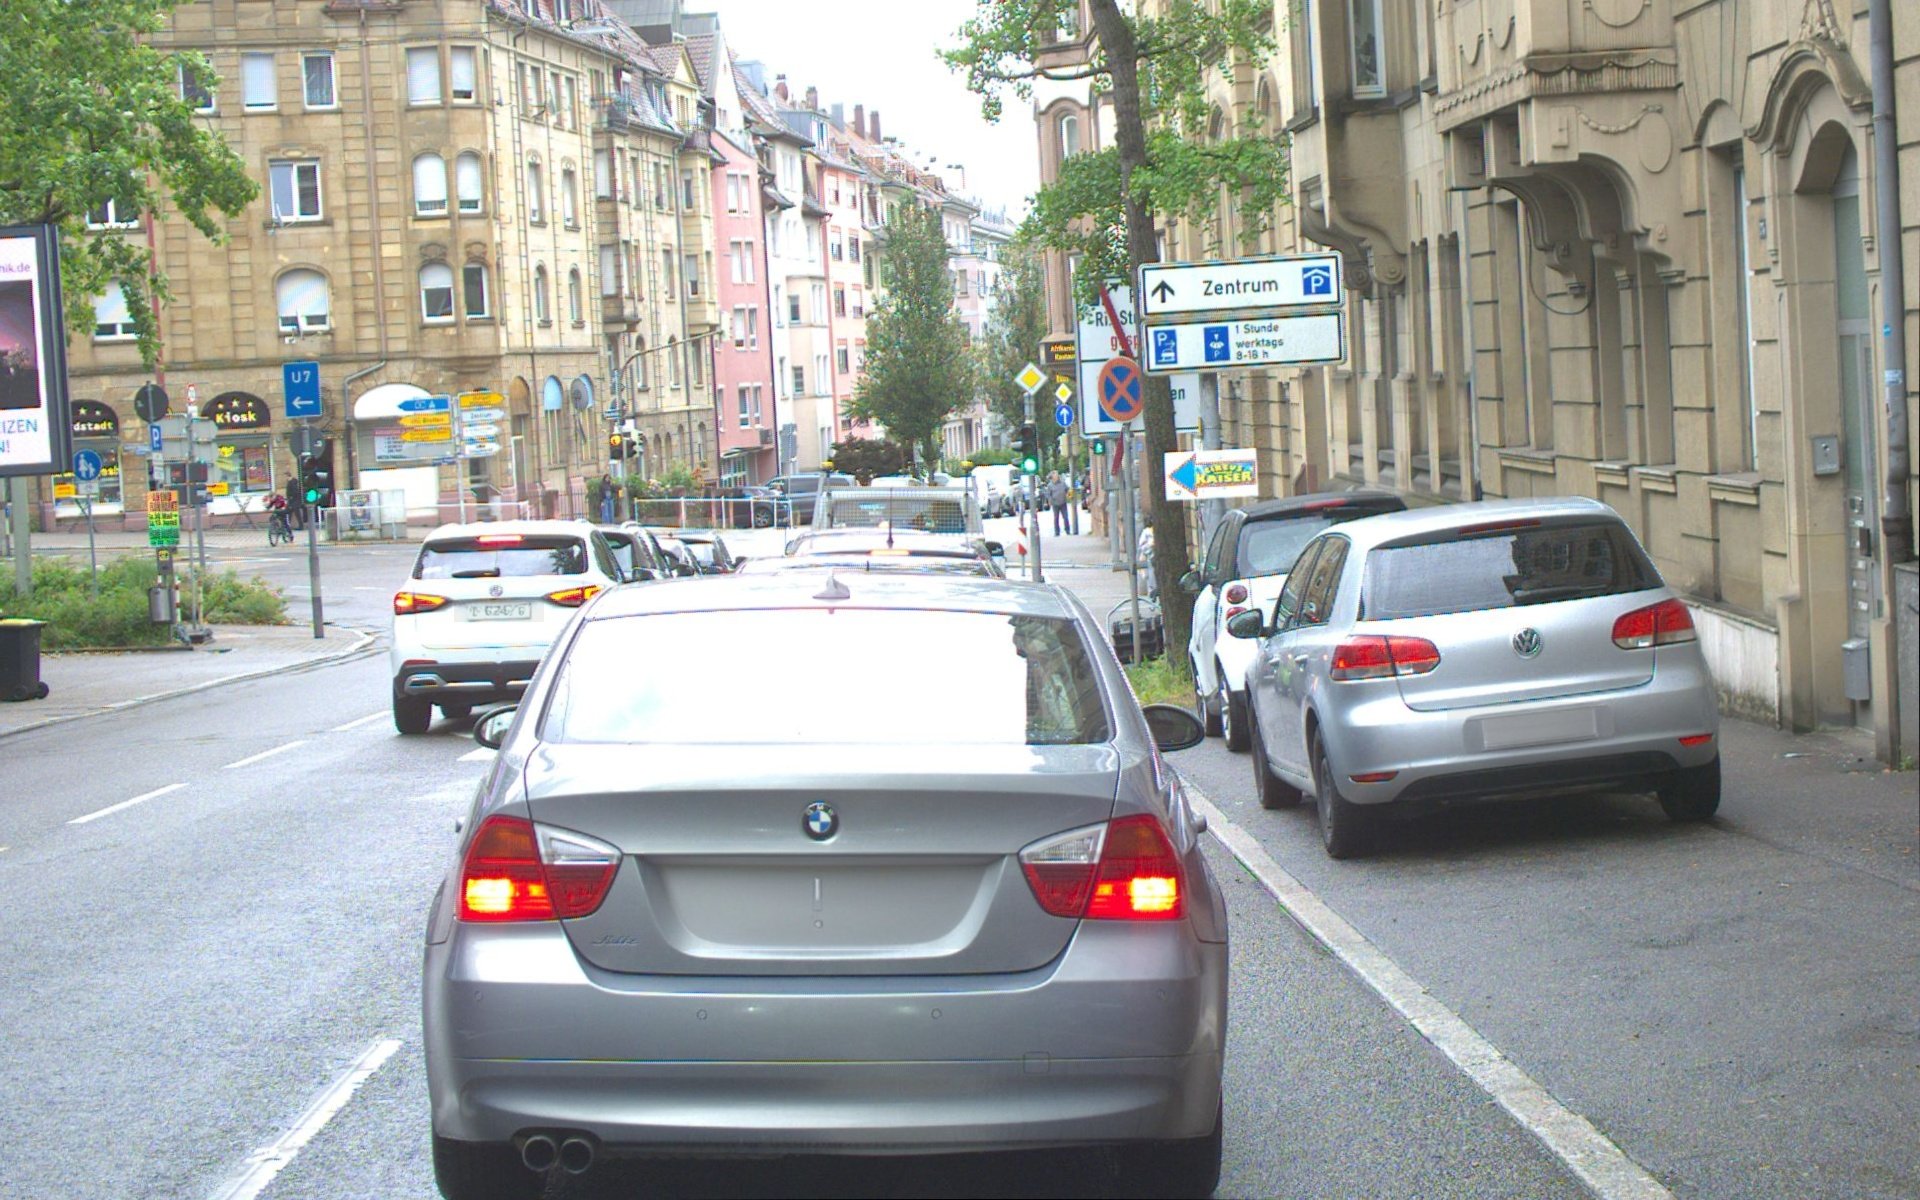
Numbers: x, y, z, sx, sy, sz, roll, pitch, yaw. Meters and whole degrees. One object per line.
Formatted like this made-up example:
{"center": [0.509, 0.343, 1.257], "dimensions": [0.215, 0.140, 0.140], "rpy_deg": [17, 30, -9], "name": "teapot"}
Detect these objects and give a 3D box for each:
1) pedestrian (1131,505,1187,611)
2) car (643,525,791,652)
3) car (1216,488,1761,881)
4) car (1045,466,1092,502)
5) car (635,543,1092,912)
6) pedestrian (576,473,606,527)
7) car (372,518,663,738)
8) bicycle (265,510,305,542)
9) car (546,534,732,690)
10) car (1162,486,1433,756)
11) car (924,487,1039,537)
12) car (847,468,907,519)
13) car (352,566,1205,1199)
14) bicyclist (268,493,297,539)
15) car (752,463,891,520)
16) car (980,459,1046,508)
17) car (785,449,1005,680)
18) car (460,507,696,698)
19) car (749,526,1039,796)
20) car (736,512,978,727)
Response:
{"center": [2.961, -0.630, 51.277], "dimensions": [0.631, 1.503, 0.693], "rpy_deg": [-6, 1, -1], "name": "pedestrian"}
{"center": [-3.420, -0.199, 49.009], "dimensions": [1.759, 1.702, 4.000], "rpy_deg": [-1, 1, 1], "name": "car"}
{"center": [2.345, 0.305, 16.263], "dimensions": [1.759, 1.446, 4.000], "rpy_deg": [-6, 1, -1], "name": "car"}
{"center": [3.865, -4.142, 122.811], "dimensions": [1.434, 1.170, 3.435], "rpy_deg": [1, 1, -2], "name": "car"}
{"center": [-0.356, 0.464, 15.370], "dimensions": [1.759, 1.378, 4.000], "rpy_deg": [-1, 1, 1], "name": "car"}
{"center": [-10.876, -2.944, 101.383], "dimensions": [0.732, 1.572, 0.528], "rpy_deg": [-2, 1, 8], "name": "pedestrian"}
{"center": [-3.487, 0.164, 27.749], "dimensions": [1.868, 1.620, 4.000], "rpy_deg": [-1, 1, -1], "name": "car"}
{"center": [-18.879, -2.062, 96.137], "dimensions": [0.573, 0.855, 1.521], "rpy_deg": [1, 1, 10], "name": "bicycle"}
{"center": [-3.740, 0.098, 40.627], "dimensions": [1.759, 1.702, 4.000], "rpy_deg": [-1, 1, 1], "name": "car"}
{"center": [2.170, 0.096, 22.677], "dimensions": [1.299, 1.537, 2.976], "rpy_deg": [-6, 1, -1], "name": "car"}
{"center": [0.726, -2.917, 114.176], "dimensions": [1.997, 1.573, 3.993], "rpy_deg": [1, 1, 32], "name": "car"}
{"center": [-2.481, -3.171, 102.970], "dimensions": [1.715, 1.445, 3.743], "rpy_deg": [-2, 1, -1], "name": "car"}
{"center": [-0.329, 0.645, 8.410], "dimensions": [1.623, 1.378, 3.615], "rpy_deg": [-1, 1, 1], "name": "car"}
{"center": [-18.929, -2.342, 96.082], "dimensions": [0.569, 1.268, 0.689], "rpy_deg": [1, 0, 11], "name": "bicyclist"}
{"center": [-5.201, -4.077, 129.759], "dimensions": [5.176, 2.007, 2.699], "rpy_deg": [1, 1, -1], "name": "car"}
{"center": [1.888, -4.073, 120.721], "dimensions": [1.994, 1.573, 3.999], "rpy_deg": [1, 1, 5], "name": "car"}
{"center": [-0.612, -0.358, 33.368], "dimensions": [1.993, 2.099, 4.000], "rpy_deg": [0, 1, -1], "name": "car"}
{"center": [-3.613, -0.027, 33.131], "dimensions": [1.759, 1.702, 4.000], "rpy_deg": [-1, 1, 1], "name": "car"}
{"center": [-0.344, 0.294, 20.992], "dimensions": [1.595, 1.459, 4.000], "rpy_deg": [0, 1, 1], "name": "car"}
{"center": [-0.751, 0.095, 27.431], "dimensions": [1.759, 1.562, 4.000], "rpy_deg": [-1, 1, 1], "name": "car"}
